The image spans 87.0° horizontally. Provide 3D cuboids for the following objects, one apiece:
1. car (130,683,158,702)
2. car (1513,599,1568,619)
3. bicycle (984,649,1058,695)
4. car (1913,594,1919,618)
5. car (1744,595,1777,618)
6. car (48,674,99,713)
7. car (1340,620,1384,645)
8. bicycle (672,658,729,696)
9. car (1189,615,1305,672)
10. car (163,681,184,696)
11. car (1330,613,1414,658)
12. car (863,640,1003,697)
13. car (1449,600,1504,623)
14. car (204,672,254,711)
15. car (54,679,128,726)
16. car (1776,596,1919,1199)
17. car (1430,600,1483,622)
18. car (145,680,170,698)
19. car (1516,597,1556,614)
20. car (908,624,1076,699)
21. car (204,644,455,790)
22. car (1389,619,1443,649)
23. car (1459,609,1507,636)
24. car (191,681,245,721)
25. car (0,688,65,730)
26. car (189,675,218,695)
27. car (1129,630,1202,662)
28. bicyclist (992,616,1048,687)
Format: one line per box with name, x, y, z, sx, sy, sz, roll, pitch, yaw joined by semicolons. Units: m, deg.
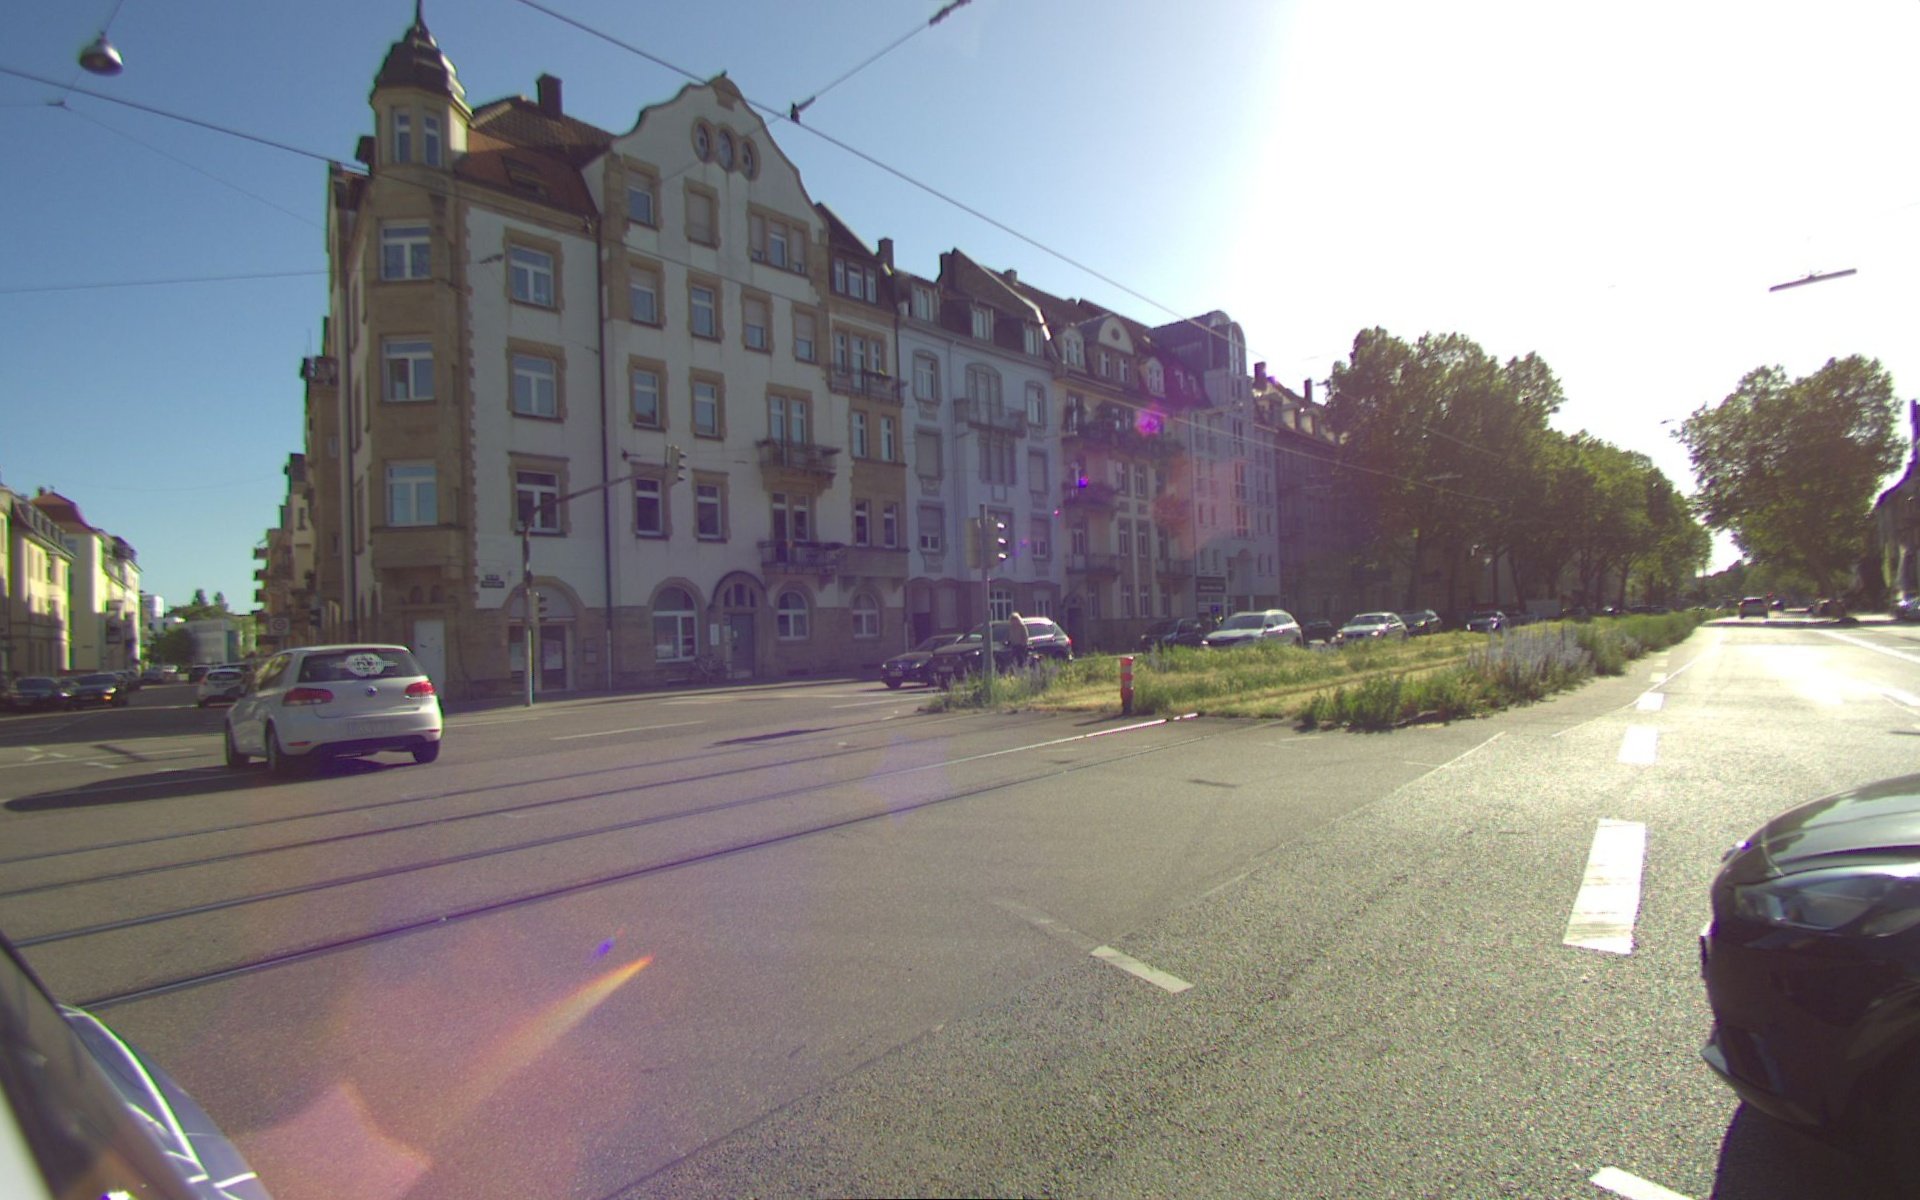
car;-83.397;9.427;103.457;1.848;1.679;4.010;-3;-1;-34
car;61.115;0.941;106.597;4.532;1.718;1.844;-5;-1;3
bicycle;1.383;1.620;22.787;0.794;0.932;1.614;-5;-3;42
car;55.908;0.242;56.371;3.998;1.318;1.522;-4;-3;41
car;68.606;0.588;86.754;1.984;1.850;4.059;-4;-3;40
car;-52.398;5.535;59.897;1.805;2.050;3.828;-4;-2;-35
car;27.877;2.233;70.167;1.642;1.600;3.355;-6;-4;43
bicycle;-8.577;2.552;33.533;0.610;1.142;1.786;-5;-3;40
car;8.765;1.299;30.754;1.766;1.541;3.964;-5;-3;42
car;-102.855;11.525;132.415;1.848;1.679;4.010;-3;-1;-34
car;15.748;1.337;38.597;1.765;1.541;3.844;-6;-5;40
car;-0.720;1.919;28.716;1.766;1.400;3.842;-5;-3;42
car;45.987;1.051;90.185;3.757;1.718;1.845;-5;-1;1
car;-37.932;4.717;52.579;1.887;1.671;4.357;-5;0;-34
car;-36.365;4.243;42.434;1.848;1.679;4.010;-3;-1;-34
car;3.792;0.644;1.522;3.809;1.475;1.642;-4;-3;44
car;45.291;1.010;92.396;3.757;1.718;1.845;-5;-1;1
car;-89.557;9.900;112.945;1.848;1.679;4.010;-3;-1;-34
car;67.400;0.658;118.475;3.789;1.718;1.830;-5;-1;26
car;0.891;1.536;26.033;1.999;1.657;4.181;-6;-4;42
car;-7.981;1.382;12.649;4.001;1.469;1.786;-5;-4;45
car;23.673;1.742;52.471;1.592;1.387;3.653;-4;-2;39
car;33.762;1.434;65.298;1.818;1.603;4.188;-4;-2;40
car;-29.233;3.953;39.951;1.531;1.422;3.580;1;-4;-33
car;-40.387;4.698;43.776;1.967;1.549;4.010;-4;-2;-34
car;-70.893;8.001;94.918;1.886;1.741;4.358;0;-4;-33
car;10.174;2.267;49.898;1.766;1.400;3.842;-5;-3;42
bicyclist;1.359;1.148;22.807;0.687;1.554;1.060;-4;-3;42
